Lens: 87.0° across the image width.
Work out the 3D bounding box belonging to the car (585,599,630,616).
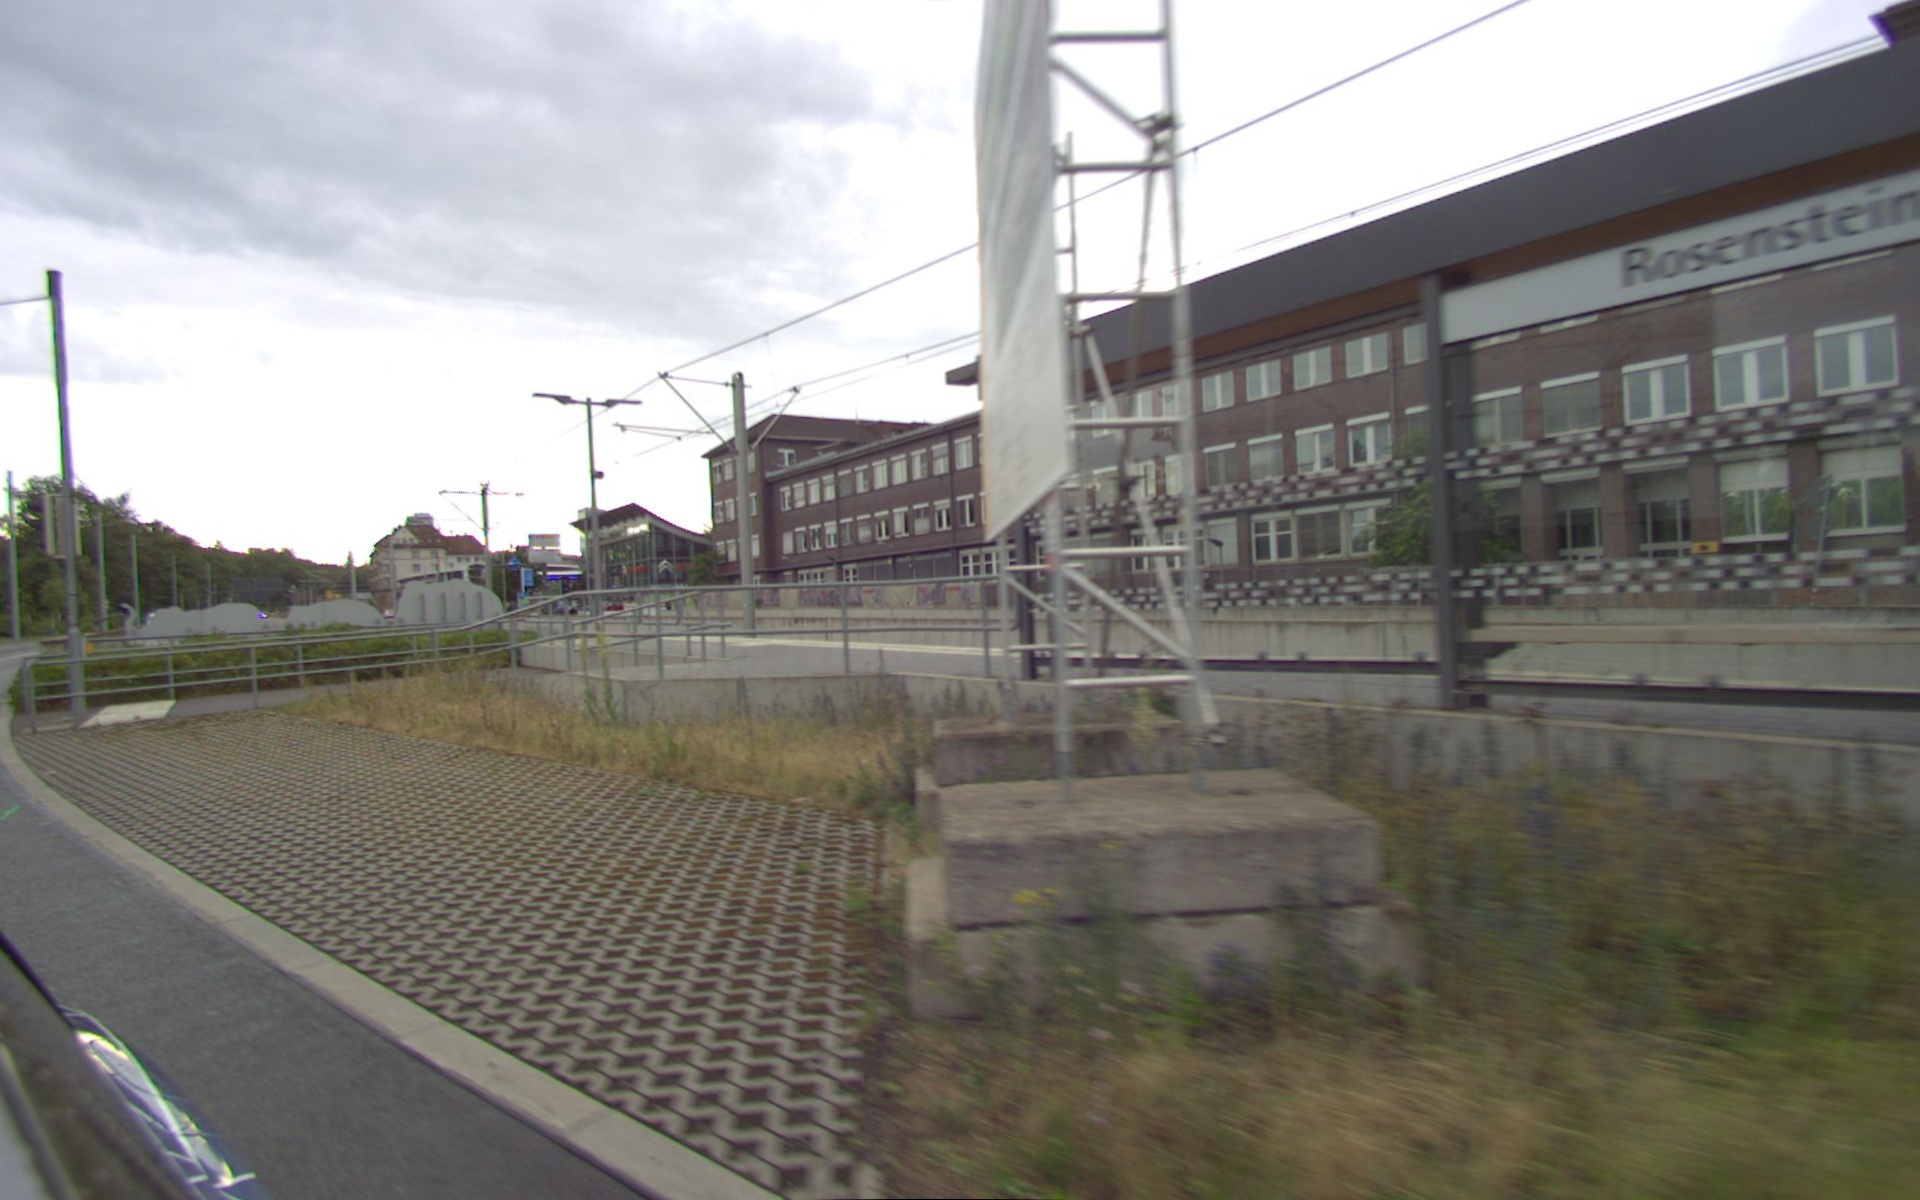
[{"bbox_3d":[-40.582,0.812,116.617,4.505,1.773,2.005,-2,0,-36],"label":"car"}]

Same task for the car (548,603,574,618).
[{"bbox_3d":[-50.511,1.369,128.072,1.968,1.785,4.009,-2,0,-37],"label":"car"}]

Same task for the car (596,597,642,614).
[{"bbox_3d":[-38.474,0.651,114.276,4.505,1.773,2.005,-2,0,-36],"label":"car"}]

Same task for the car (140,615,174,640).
[{"bbox_3d":[-67.174,2.280,84.711,1.967,2.029,4.010,0,-1,-35],"label":"car"}]

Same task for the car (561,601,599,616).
[{"bbox_3d":[-46.700,1.039,124.355,3.934,1.785,2.005,-2,0,-35],"label":"car"}]

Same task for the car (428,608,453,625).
[{"bbox_3d":[-63.941,2.010,124.497,1.968,2.029,4.007,0,-1,-39],"label":"car"}]

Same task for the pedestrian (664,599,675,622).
[{"bbox_3d":[-26.018,0.943,90.584,0.723,2.029,0.577,-1,0,18],"label":"pedestrian"}]
